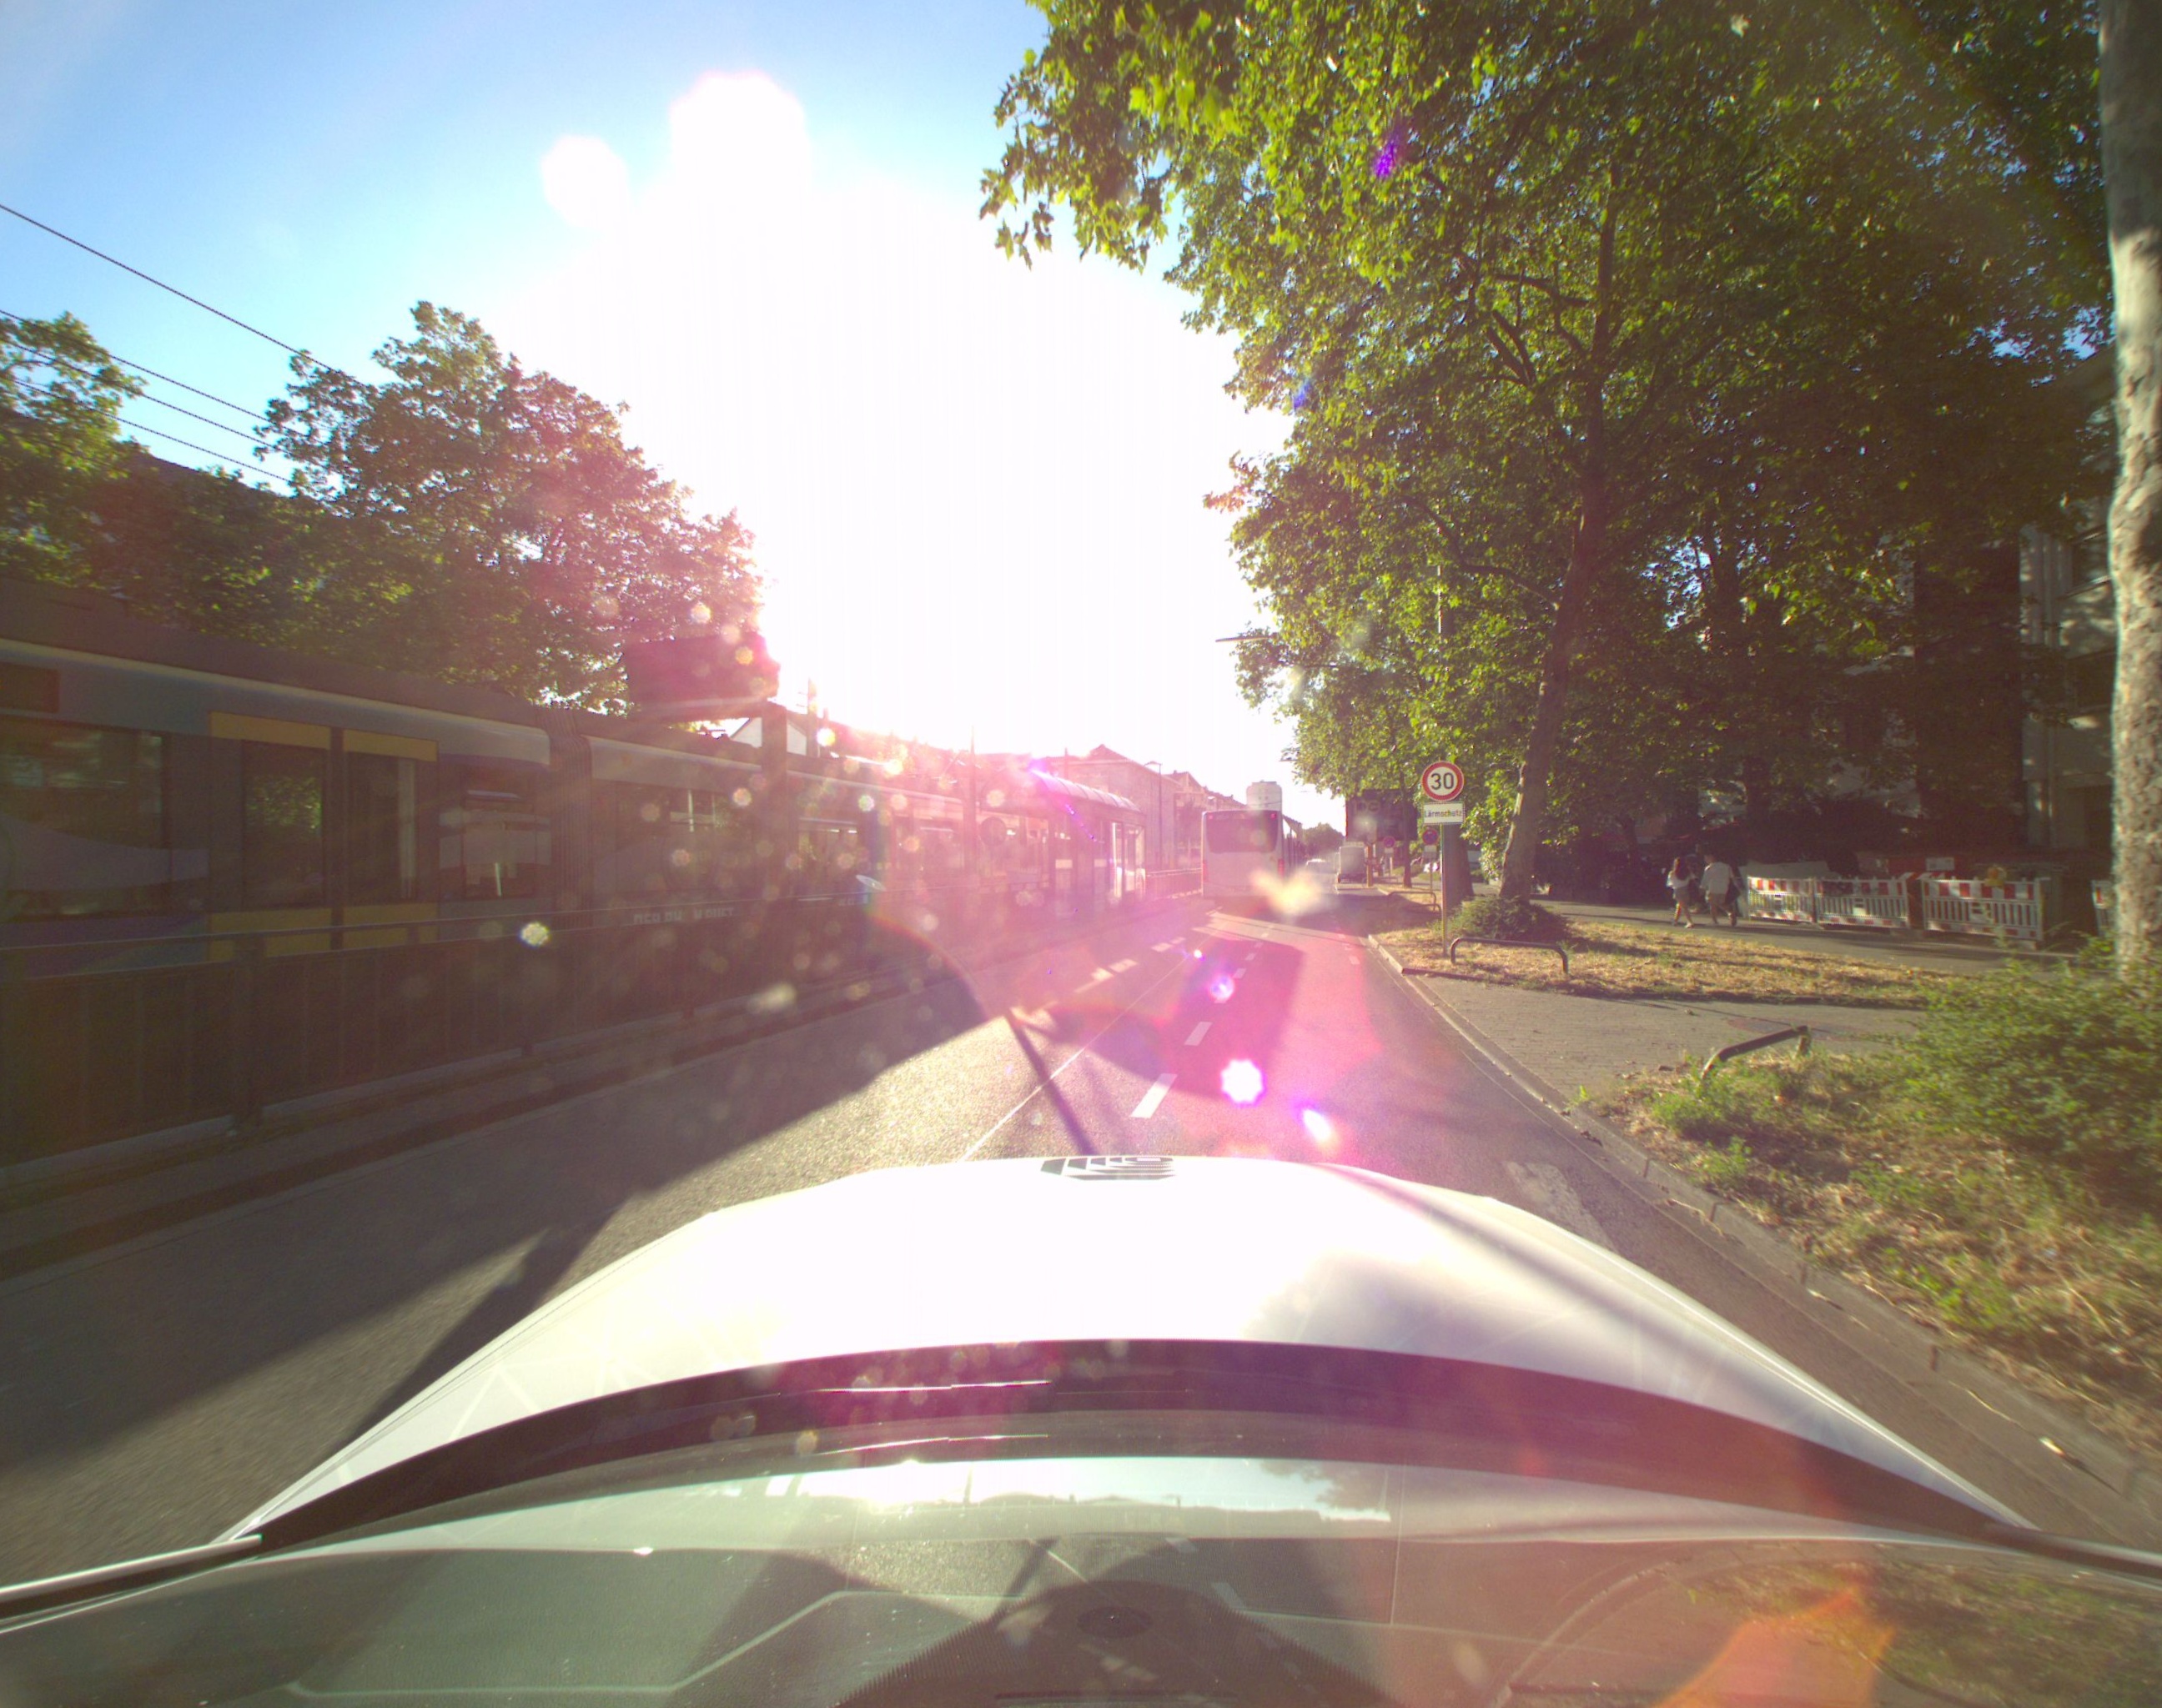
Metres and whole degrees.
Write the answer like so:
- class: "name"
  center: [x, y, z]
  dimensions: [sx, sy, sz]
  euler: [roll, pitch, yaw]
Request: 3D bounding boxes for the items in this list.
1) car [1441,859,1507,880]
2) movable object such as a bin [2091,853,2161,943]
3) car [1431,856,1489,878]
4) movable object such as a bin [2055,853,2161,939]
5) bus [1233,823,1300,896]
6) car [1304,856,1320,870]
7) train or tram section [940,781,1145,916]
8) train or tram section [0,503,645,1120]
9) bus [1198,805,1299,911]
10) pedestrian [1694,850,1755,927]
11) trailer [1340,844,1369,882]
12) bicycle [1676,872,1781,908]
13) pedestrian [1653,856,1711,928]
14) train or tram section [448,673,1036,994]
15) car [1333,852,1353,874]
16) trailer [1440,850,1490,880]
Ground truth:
- class: "car"
  center: [26.871, 1.059, 55.765]
  dimensions: [3.889, 1.336, 1.714]
  euler: [-1, -1, 18]
- class: "movable object such as a bin"
  center: [17.577, 0.706, 13.223]
  dimensions: [1.281, 1.434, 0.845]
  euler: [-1, -1, 37]
- class: "car"
  center: [29.427, 1.043, 63.353]
  dimensions: [3.890, 1.636, 1.714]
  euler: [-1, -1, 17]
- class: "movable object such as a bin"
  center: [18.028, 0.709, 14.155]
  dimensions: [1.282, 1.434, 0.845]
  euler: [-1, -1, 43]
- class: "bus"
  center: [9.069, 0.249, 39.163]
  dimensions: [2.688, 3.107, 9.016]
  euler: [-1, 0, 15]
- class: "car"
  center: [30.766, 1.174, 108.353]
  dimensions: [1.978, 1.816, 4.018]
  euler: [0, 0, 18]
- class: "train or tram section"
  center: [-0.560, -0.070, 27.973]
  dimensions: [2.620, 3.519, 13.392]
  euler: [-1, -1, 17]
- class: "train or tram section"
  center: [-8.172, -0.247, 3.002]
  dimensions: [2.827, 3.533, 13.455]
  euler: [-1, -1, 17]
- class: "bus"
  center: [6.404, 0.143, 29.704]
  dimensions: [2.712, 3.139, 10.748]
  euler: [-1, 0, 16]
- class: "pedestrian"
  center: [14.373, 0.750, 18.218]
  dimensions: [0.785, 1.667, 0.819]
  euler: [0, -1, 12]
- class: "trailer"
  center: [19.377, 0.652, 57.872]
  dimensions: [1.818, 2.558, 3.333]
  euler: [-1, -1, 17]
- class: "bicycle"
  center: [19.288, 1.071, 24.324]
  dimensions: [2.353, 1.024, 0.667]
  euler: [-1, -1, 22]
- class: "pedestrian"
  center: [13.571, 0.840, 18.405]
  dimensions: [0.785, 1.572, 0.819]
  euler: [0, 0, 12]
- class: "train or tram section"
  center: [-4.382, -0.170, 15.495]
  dimensions: [2.707, 3.549, 12.841]
  euler: [-1, -1, 17]
- class: "car"
  center: [32.483, 1.094, 101.229]
  dimensions: [2.264, 2.627, 5.332]
  euler: [-1, -1, 17]
- class: "trailer"
  center: [27.470, 0.775, 58.409]
  dimensions: [3.040, 2.070, 1.887]
  euler: [0, -1, 18]
